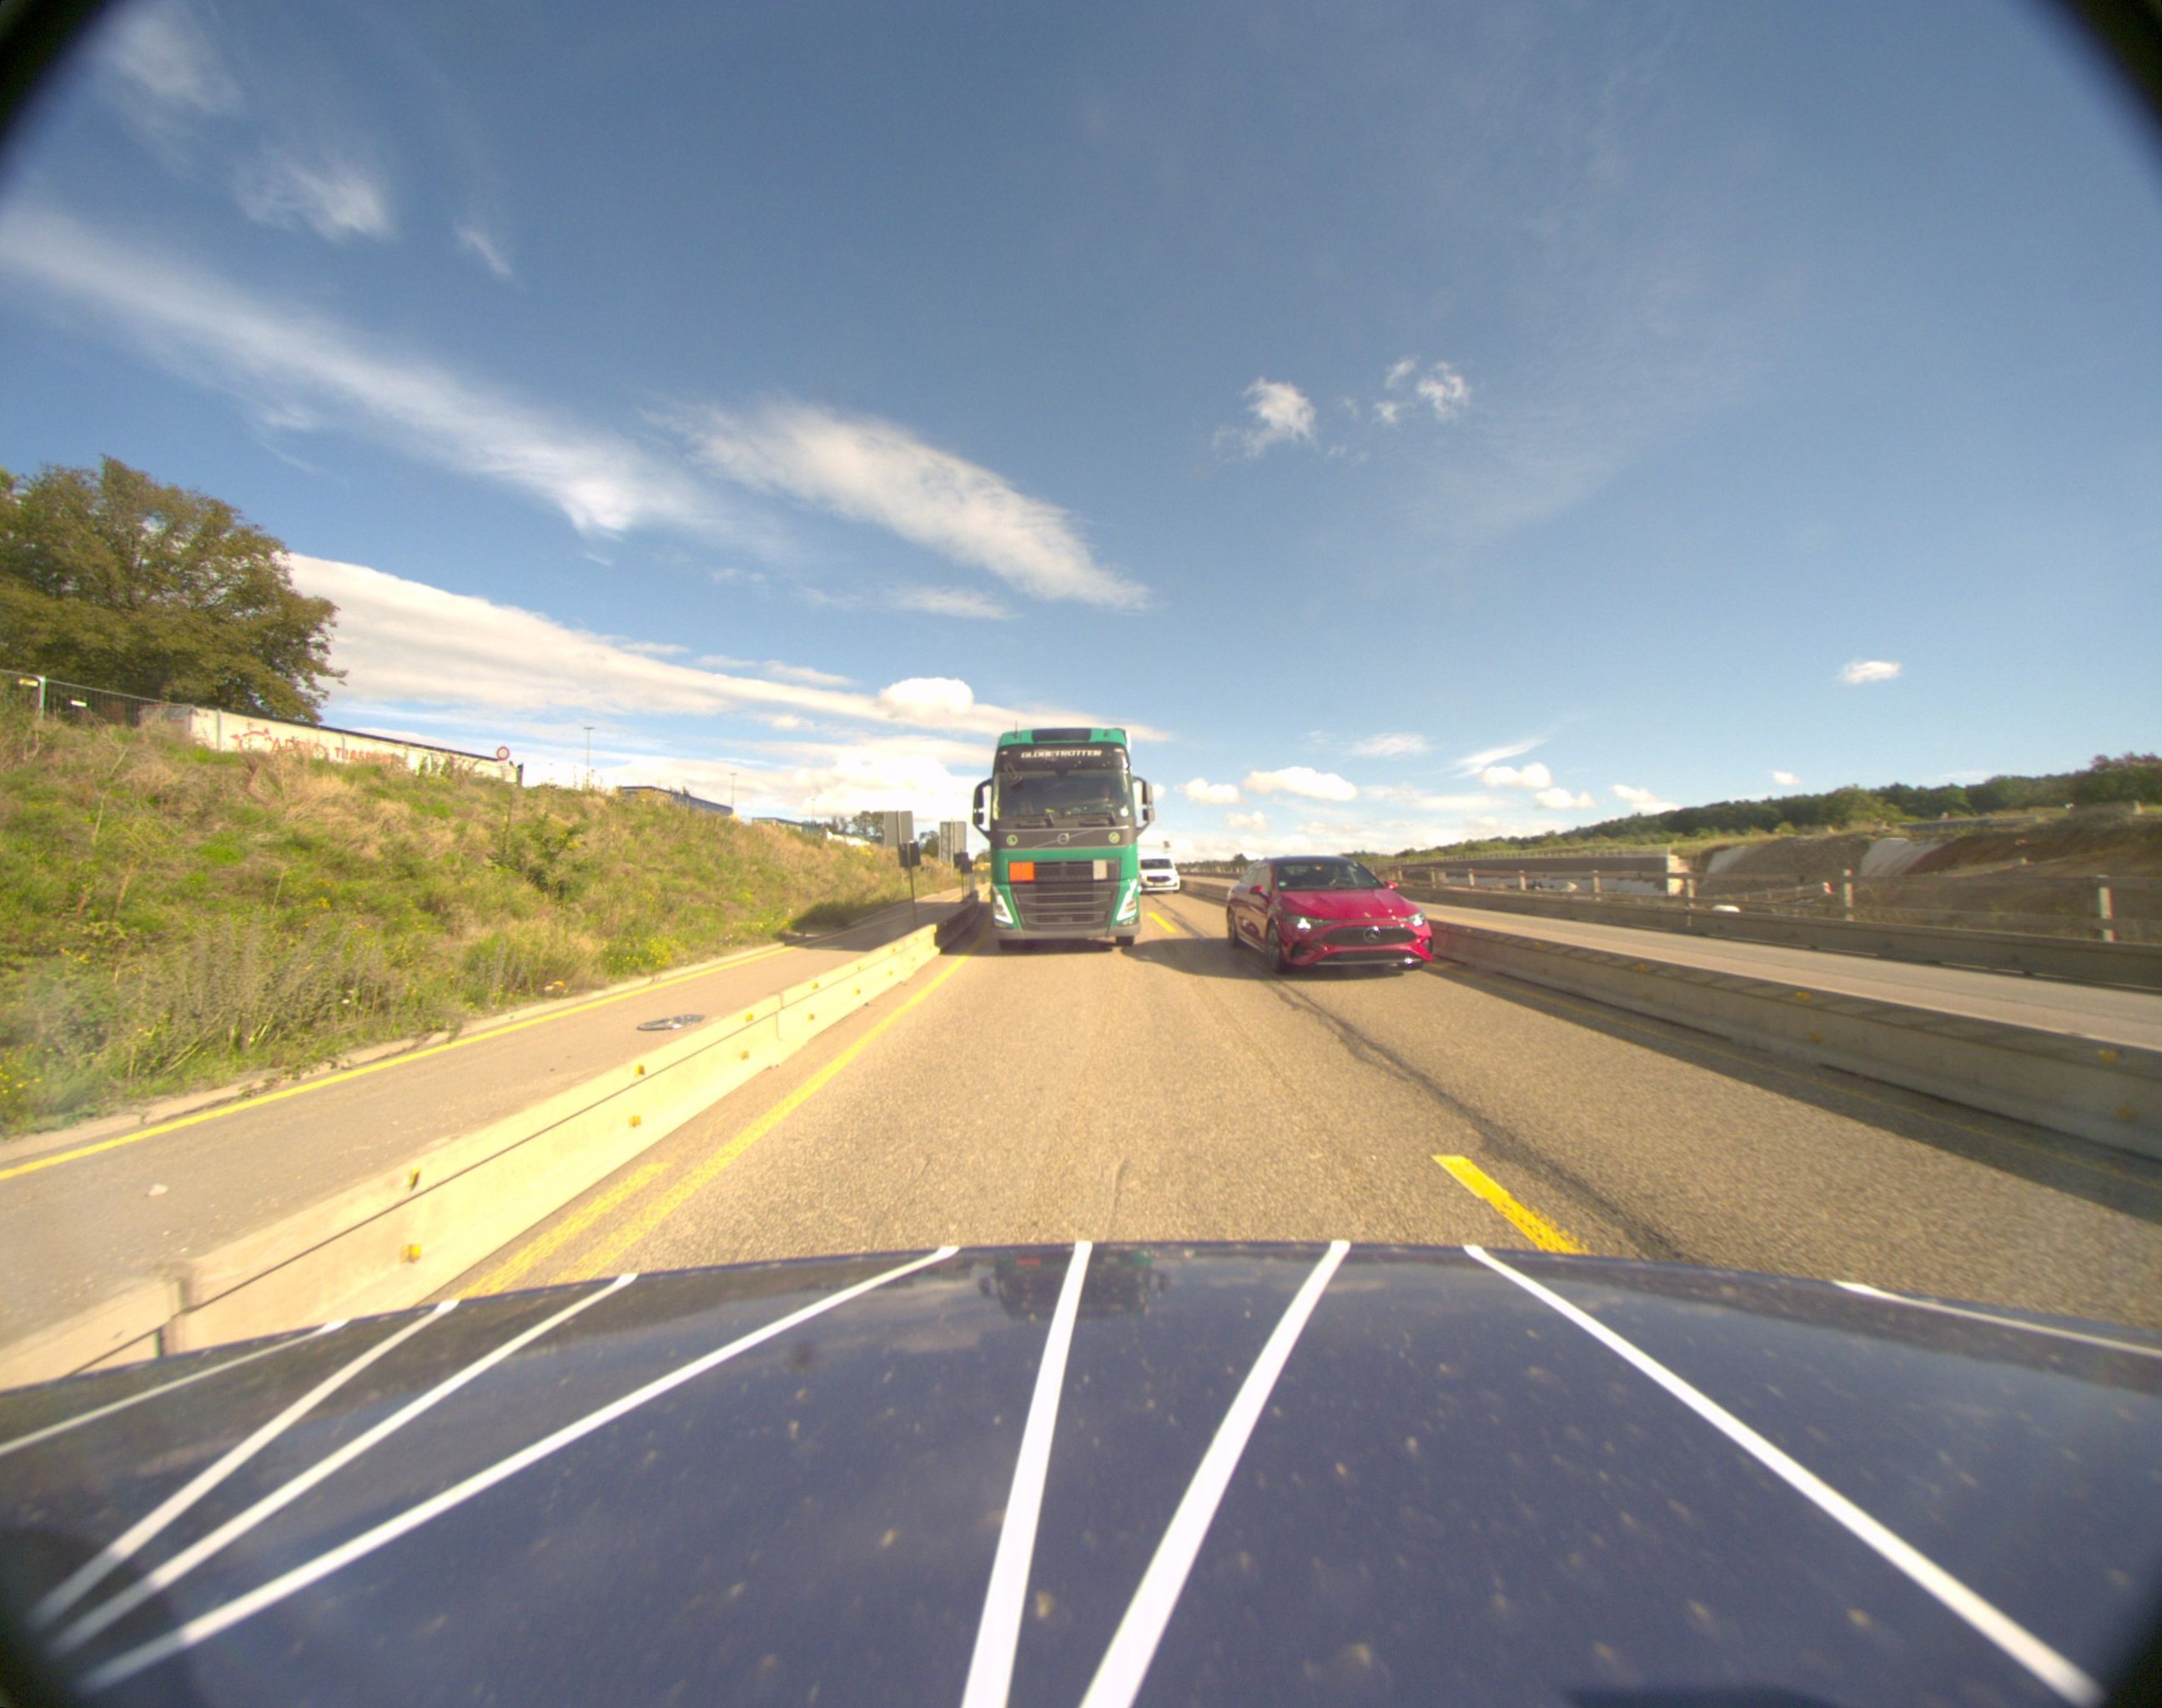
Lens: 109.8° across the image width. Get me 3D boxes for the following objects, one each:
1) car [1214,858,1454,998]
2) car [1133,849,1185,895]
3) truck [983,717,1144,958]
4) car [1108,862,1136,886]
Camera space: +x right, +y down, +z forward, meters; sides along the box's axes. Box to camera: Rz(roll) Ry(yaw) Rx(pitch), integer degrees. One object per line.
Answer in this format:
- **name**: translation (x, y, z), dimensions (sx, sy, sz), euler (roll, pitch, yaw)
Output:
- **car**: translation (3.225, 0.835, 10.811), dimensions (1.827, 1.483, 4.684), euler (-3, 0, 0)
- **car**: translation (3.417, 0.767, 34.176), dimensions (1.827, 1.813, 4.456), euler (-3, 0, 0)
- **truck**: translation (-0.266, -0.283, 16.609), dimensions (2.546, 3.899, 8.279), euler (-1, 0, 0)
- **car**: translation (2.915, 1.420, 54.377), dimensions (1.719, 1.499, 4.000), euler (-2, 0, 0)
